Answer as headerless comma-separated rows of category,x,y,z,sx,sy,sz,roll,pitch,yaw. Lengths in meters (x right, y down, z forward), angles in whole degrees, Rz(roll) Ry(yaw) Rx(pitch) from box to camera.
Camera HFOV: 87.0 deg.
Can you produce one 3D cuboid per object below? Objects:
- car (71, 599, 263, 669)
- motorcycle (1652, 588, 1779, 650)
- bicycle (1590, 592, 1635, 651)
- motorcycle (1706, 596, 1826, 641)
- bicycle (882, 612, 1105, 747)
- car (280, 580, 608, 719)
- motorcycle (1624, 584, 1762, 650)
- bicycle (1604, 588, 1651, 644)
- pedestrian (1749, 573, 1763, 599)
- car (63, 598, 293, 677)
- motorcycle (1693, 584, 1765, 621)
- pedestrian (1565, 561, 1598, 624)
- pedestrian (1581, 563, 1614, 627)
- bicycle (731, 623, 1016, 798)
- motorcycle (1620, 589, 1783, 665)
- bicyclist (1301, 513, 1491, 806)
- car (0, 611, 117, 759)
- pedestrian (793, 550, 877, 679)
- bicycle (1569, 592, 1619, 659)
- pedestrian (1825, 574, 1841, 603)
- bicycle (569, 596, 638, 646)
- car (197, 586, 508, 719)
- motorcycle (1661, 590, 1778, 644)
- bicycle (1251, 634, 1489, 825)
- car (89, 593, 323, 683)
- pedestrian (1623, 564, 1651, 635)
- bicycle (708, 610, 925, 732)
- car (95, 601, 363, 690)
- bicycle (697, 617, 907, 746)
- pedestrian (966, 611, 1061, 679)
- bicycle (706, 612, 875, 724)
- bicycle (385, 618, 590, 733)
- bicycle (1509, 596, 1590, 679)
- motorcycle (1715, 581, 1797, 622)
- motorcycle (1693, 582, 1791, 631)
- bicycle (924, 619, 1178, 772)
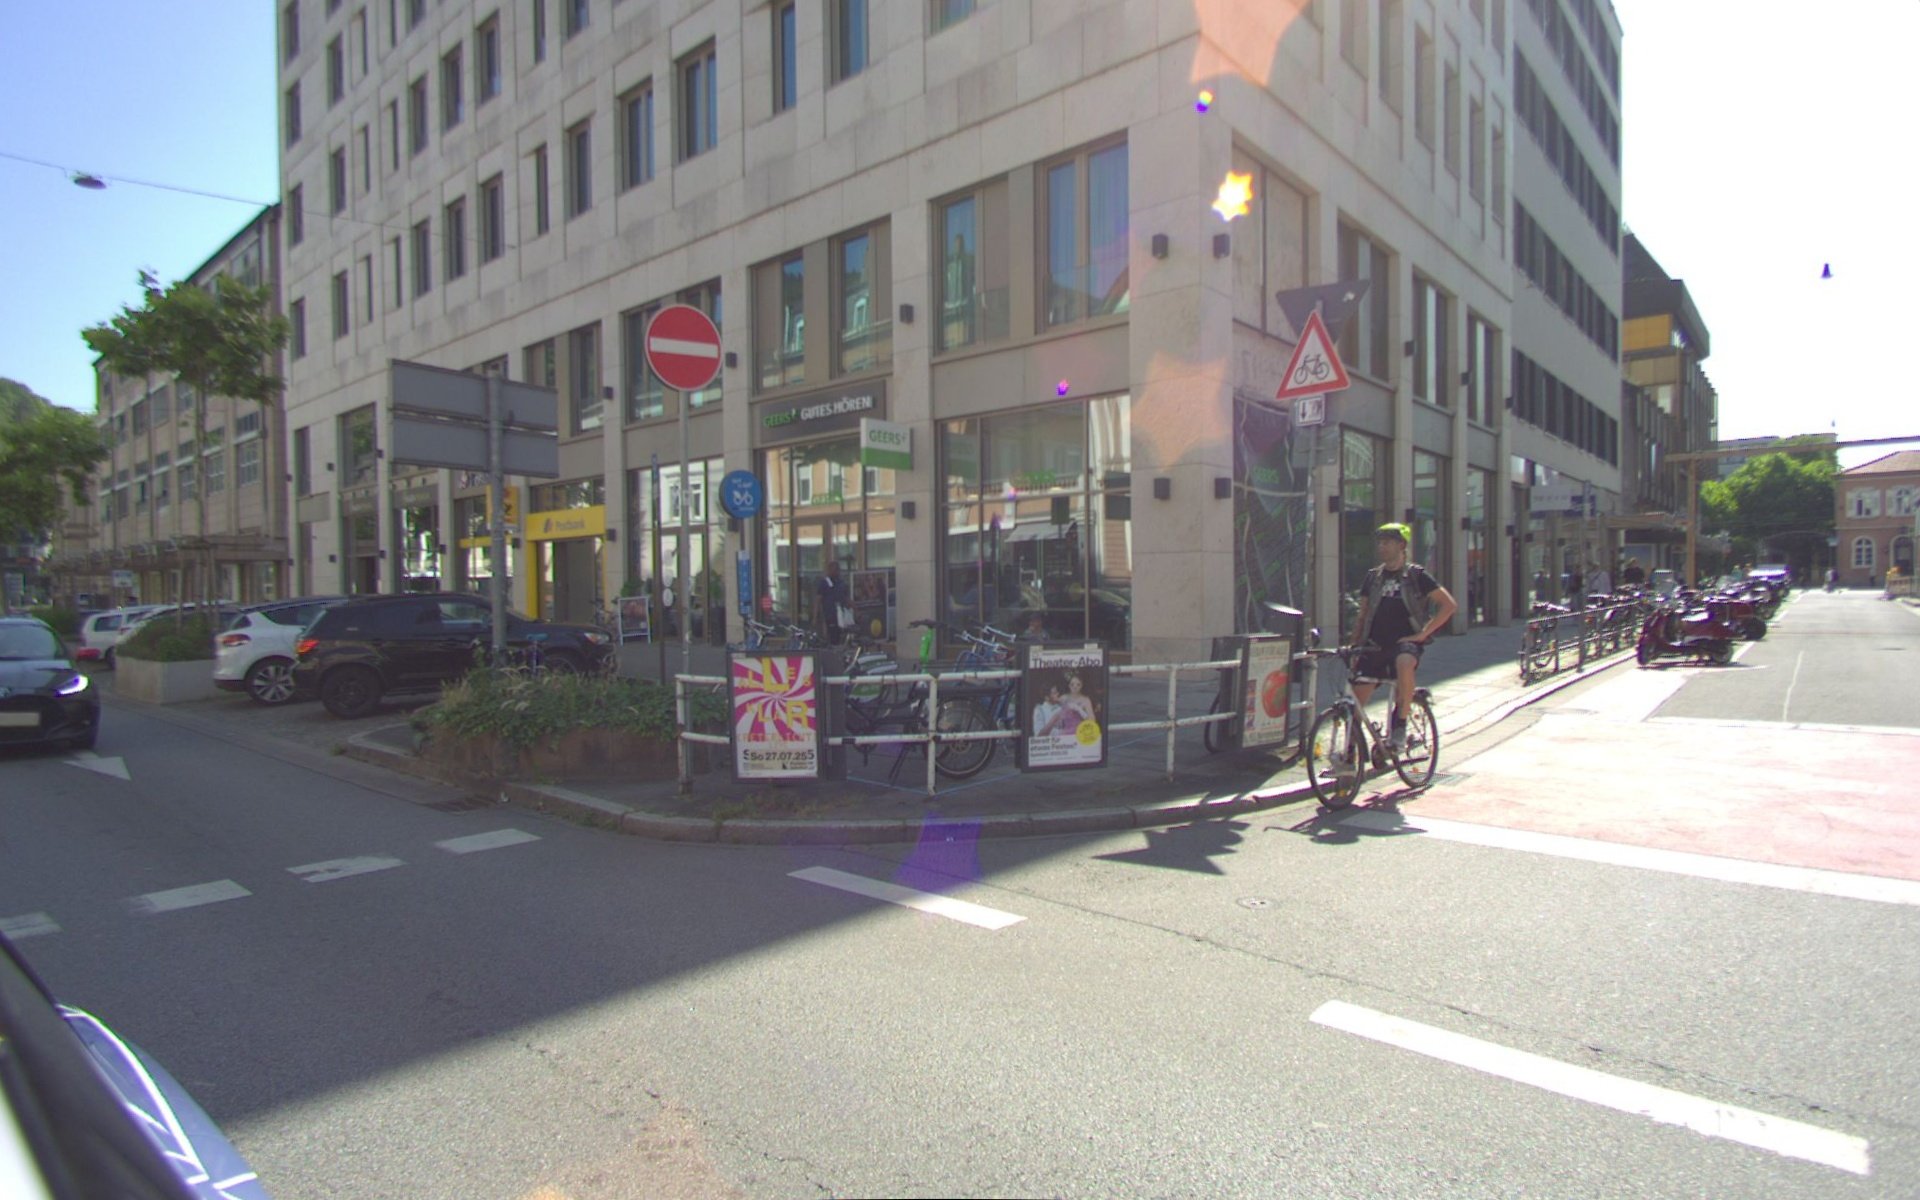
car,-22.417,0.899,28.725,1.819,1.539,3.947,1,5,40
motorcycle,15.576,0.390,20.908,2.039,1.182,0.604,-2,1,7
bicycle,13.269,0.412,20.549,0.454,1.135,2.036,-2,0,41
motorcycle,18.445,0.417,23.208,2.040,0.946,0.705,-2,1,8
bicycle,0.331,0.723,9.757,2.029,1.135,0.649,-2,0,-22
car,-7.422,0.608,14.885,3.965,1.614,1.965,-3,3,-26
motorcycle,14.105,0.334,19.520,2.039,1.182,0.653,-2,-1,7
bicycle,14.684,0.336,22.231,0.570,1.117,2.036,-2,1,41
pedestrian,58.300,-0.984,74.132,0.767,1.890,0.658,0,0,42
car,-20.323,0.909,26.570,4.426,1.443,1.869,-7,4,-29
motorcycle,27.000,0.085,35.545,2.034,1.182,0.708,-2,1,-4
pedestrian,17.574,-0.208,28.602,0.667,1.771,0.757,0,0,42
pedestrian,17.849,-0.137,28.342,0.667,1.771,0.757,0,0,42
bicycle,-0.636,0.804,7.636,2.034,1.182,0.606,-1,1,-3
motorcycle,12.406,0.465,17.000,2.045,1.182,0.654,-2,-2,15
bicyclist,3.210,0.395,7.474,0.832,1.974,1.018,-1,0,-42
car,-11.212,0.911,11.519,4.104,1.489,1.844,-2,-2,41
pedestrian,-1.930,0.202,15.613,0.844,1.892,0.830,0,4,42
bicycle,11.678,0.443,18.626,0.454,1.135,2.037,5,4,39
pedestrian,58.250,-0.768,67.521,0.767,1.890,0.658,0,0,42
bicycle,-8.381,0.492,23.751,2.160,1.115,0.490,-1,2,42
car,-10.110,0.748,16.985,4.107,1.648,2.106,-6,4,-40
motorcycle,16.585,0.361,22.120,2.036,1.075,0.605,-2,1,1
bicycle,3.034,0.853,7.389,1.962,1.135,0.800,-1,-1,-42
car,-17.807,0.843,24.123,3.971,1.604,1.825,-6,4,-15
pedestrian,22.456,-0.007,33.577,0.667,2.309,0.757,0,0,42
bicycle,-1.590,0.754,11.364,2.289,1.135,0.564,-3,2,-24
car,-15.570,0.914,21.813,4.246,1.460,1.792,-4,2,-15
bicycle,-1.622,0.804,10.501,2.029,1.135,0.564,-3,1,-24
pedestrian,0.813,0.652,15.143,0.841,0.932,1.237,-1,0,40
bicycle,-1.975,0.763,11.854,1.834,1.135,0.486,-3,1,-24
bicycle,-5.515,0.841,11.950,0.485,1.135,2.117,-2,1,43
bicycle,9.066,0.534,15.530,0.640,1.135,2.036,3,3,41
motorcycle,24.878,0.046,31.656,2.034,1.182,0.708,-2,1,-4
motorcycle,20.389,0.166,26.408,2.034,1.206,0.707,-1,1,-3
bicycle,0.756,0.769,8.511,2.030,1.178,0.607,0,0,-11
